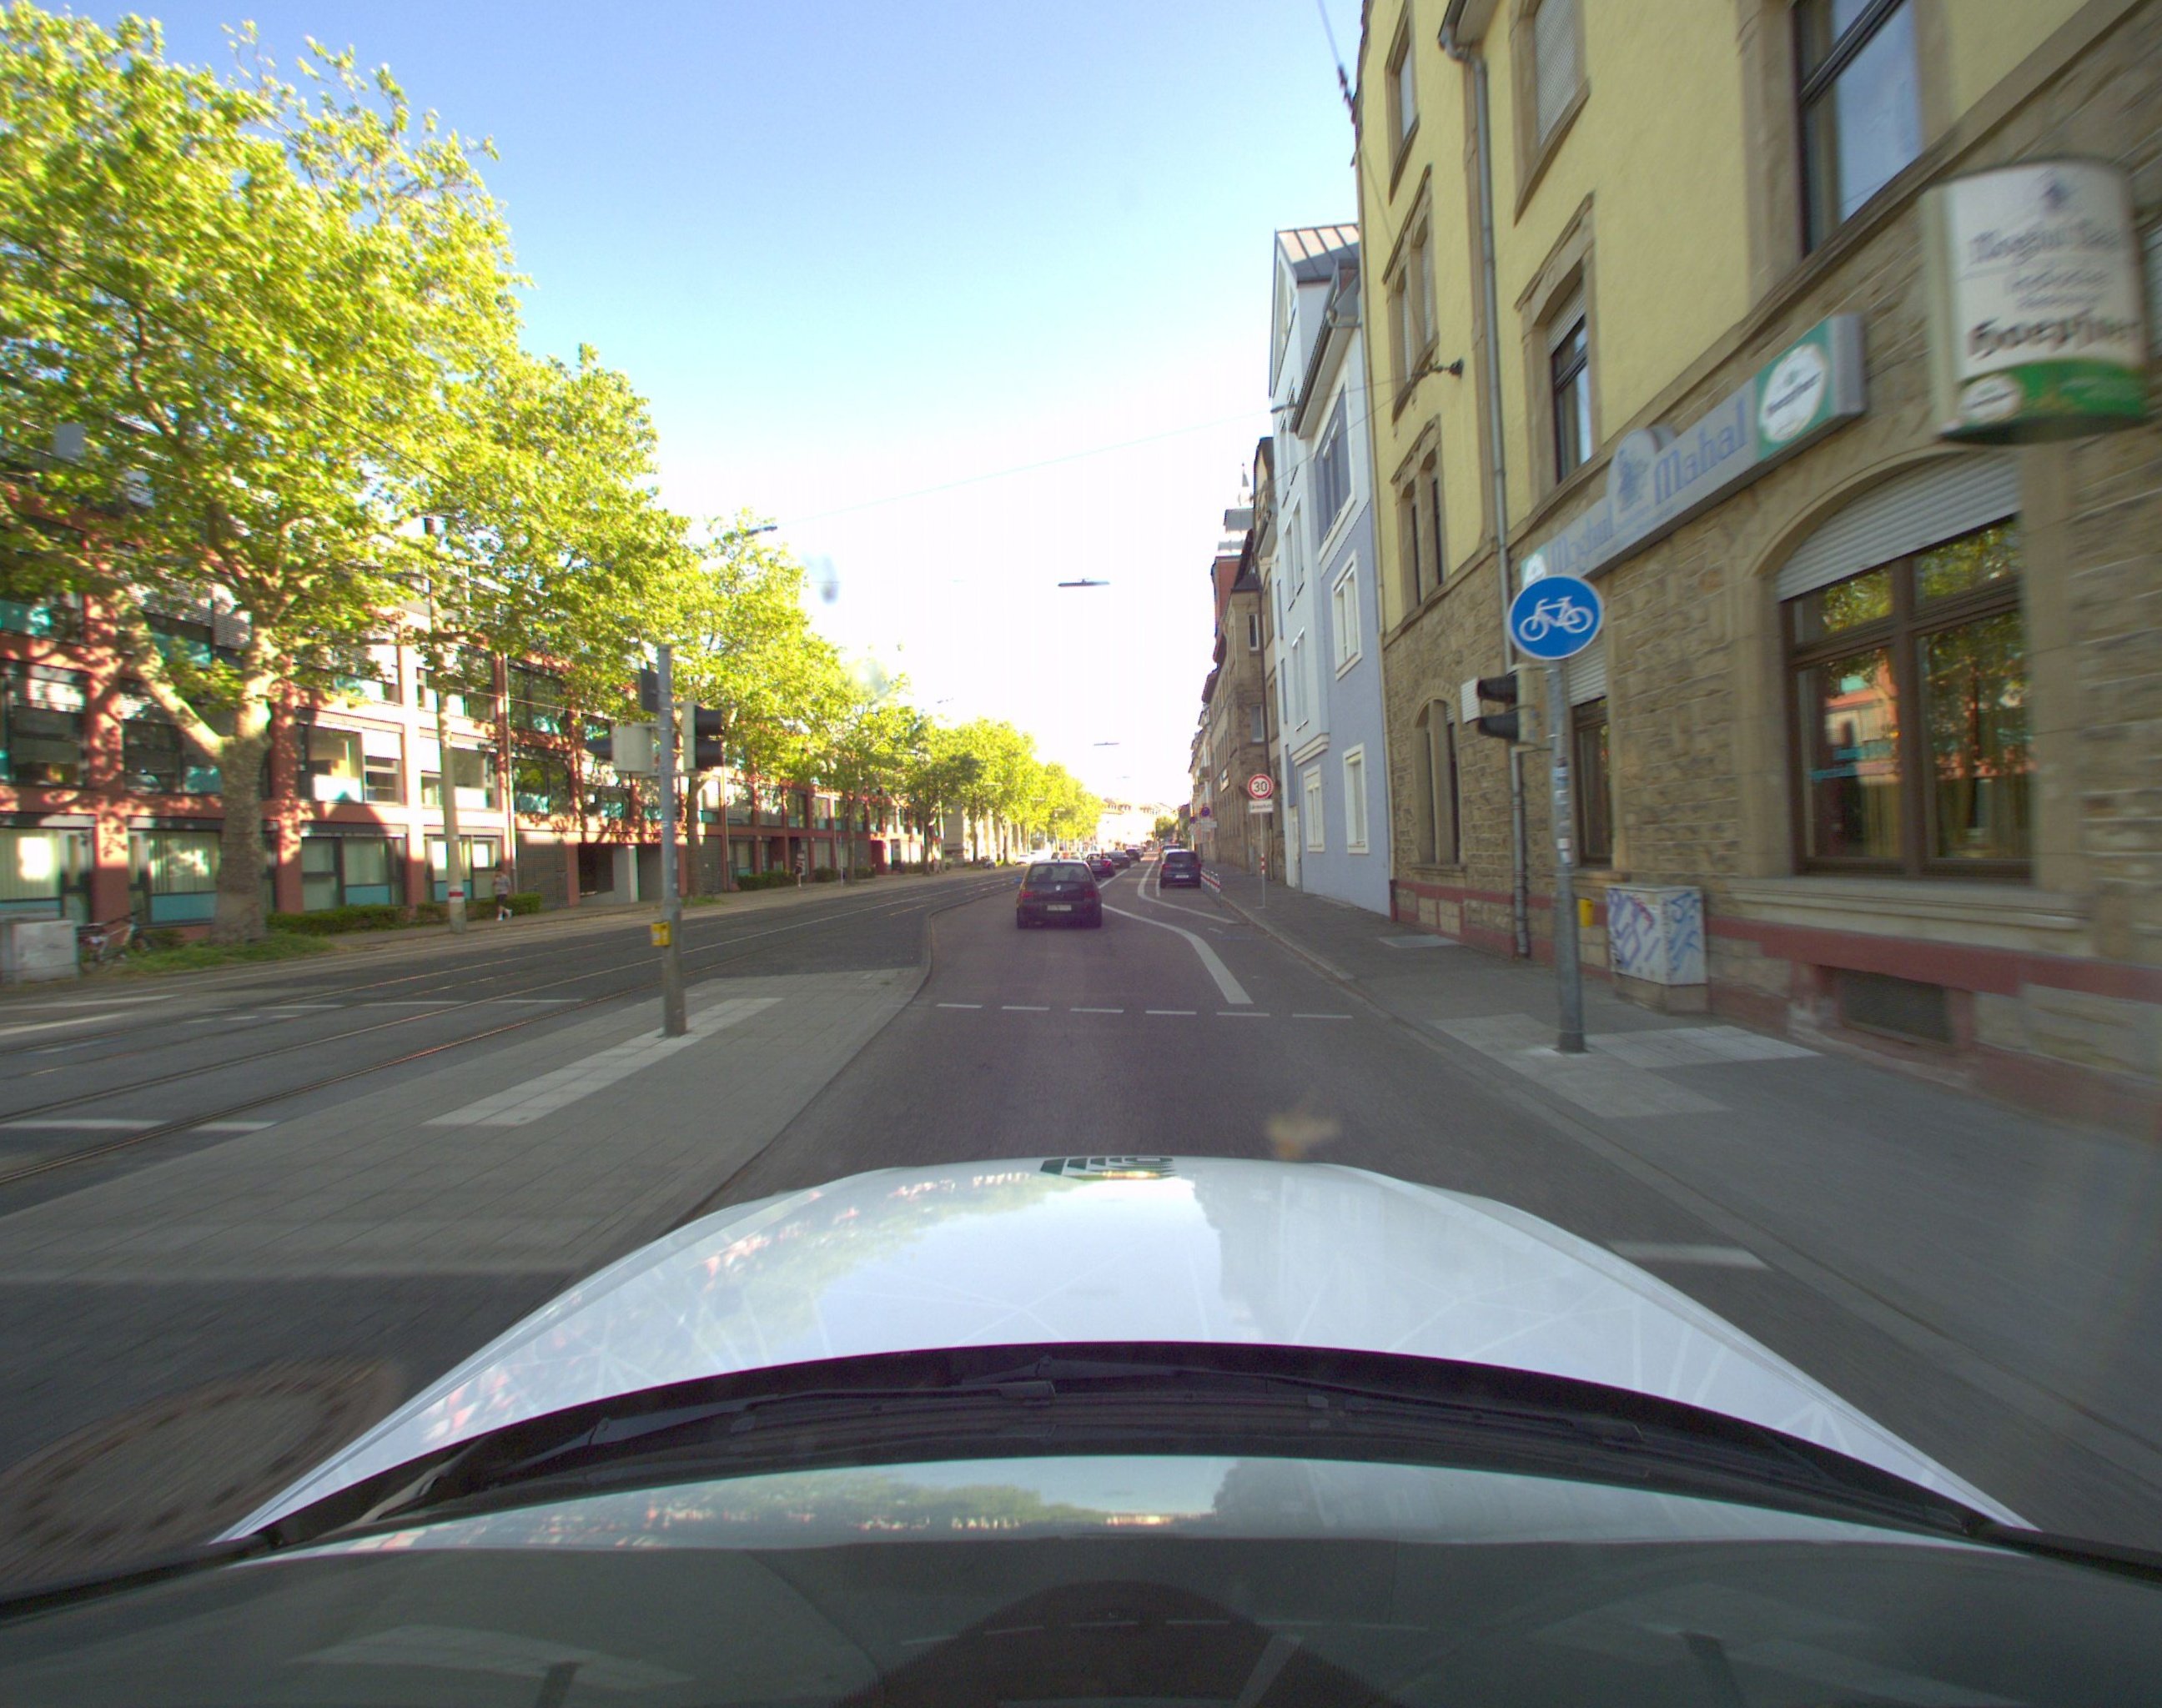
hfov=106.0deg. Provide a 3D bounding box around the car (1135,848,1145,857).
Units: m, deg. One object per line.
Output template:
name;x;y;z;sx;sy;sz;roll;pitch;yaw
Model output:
car;10.556;-0.211;144.667;1.628;1.472;3.735;-3;0;6

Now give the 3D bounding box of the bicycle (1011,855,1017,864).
bicycle;-8.797;0.733;106.680;0.579;1.209;1.653;-1;1;0

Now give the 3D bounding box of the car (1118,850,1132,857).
car;12.682;-0.055;235.519;3.975;2.013;1.999;-1;1;-1

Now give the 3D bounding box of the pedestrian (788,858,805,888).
pedestrian;-16.763;1.097;47.987;0.622;1.718;0.902;-1;1;4

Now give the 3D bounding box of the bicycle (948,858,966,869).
bicycle;-14.458;1.131;94.859;1.998;1.278;0.665;-1;1;5

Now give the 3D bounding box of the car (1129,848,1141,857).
car;8.607;-0.253;130.071;1.628;1.472;3.735;-3;0;6

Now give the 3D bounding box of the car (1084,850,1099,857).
car;3.093;-0.217;232.224;3.983;2.013;1.995;-1;1;-7

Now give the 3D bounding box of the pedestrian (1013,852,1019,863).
pedestrian;-10.600;0.552;132.840;0.793;1.820;0.671;-1;1;5

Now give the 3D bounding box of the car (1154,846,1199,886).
car;3.779;0.439;32.646;1.647;1.482;4.006;-2;0;5

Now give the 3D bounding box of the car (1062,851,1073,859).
car;-2.691;0.236;163.186;1.562;1.533;3.578;-3;-1;6

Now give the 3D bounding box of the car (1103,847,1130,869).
car;2.795;0.255;62.835;1.740;1.537;3.898;-3;1;6

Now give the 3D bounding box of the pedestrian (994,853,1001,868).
pedestrian;-10.624;0.818;103.863;0.784;1.870;0.669;-1;1;-9

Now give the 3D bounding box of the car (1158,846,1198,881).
car;4.540;0.401;38.151;1.743;1.500;4.204;-1;0;7

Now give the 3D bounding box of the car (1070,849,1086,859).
car;-0.502;-0.034;133.942;1.742;1.518;4.083;-5;0;10

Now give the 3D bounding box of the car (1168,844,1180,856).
car;14.447;-0.601;126.720;1.750;1.837;3.553;-1;1;5

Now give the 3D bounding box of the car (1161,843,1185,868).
car;7.123;0.072;63.456;1.744;1.855;4.823;-2;0;6

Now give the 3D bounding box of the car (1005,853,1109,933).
car;-0.396;0.741;17.479;1.741;1.375;4.005;-3;1;4

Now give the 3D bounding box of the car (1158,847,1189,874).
car;5.459;0.354;48.316;1.705;1.500;4.233;-1;0;6

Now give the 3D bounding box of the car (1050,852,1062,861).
car;-4.481;0.535;146.598;1.562;1.533;3.578;-3;-1;6

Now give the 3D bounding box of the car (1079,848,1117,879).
car;0.981;0.487;45.846;1.740;1.537;3.898;-3;1;6

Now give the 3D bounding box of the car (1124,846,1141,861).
car;5.629;-0.089;87.949;1.628;1.472;3.735;-3;0;6

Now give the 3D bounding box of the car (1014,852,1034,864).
car;-7.830;0.509;112.207;2.002;1.572;4.699;-1;1;4

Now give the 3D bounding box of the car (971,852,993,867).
car;-10.661;0.608;87.725;1.499;1.454;3.469;-3;-2;6

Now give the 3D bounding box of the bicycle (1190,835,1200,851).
bicycle;8.526;-0.798;60.957;0.512;1.139;2.262;-4;0;5

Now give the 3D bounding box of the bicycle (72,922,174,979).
bicycle;-18.479;1.838;15.753;0.522;0.906;1.535;-3;0;-18

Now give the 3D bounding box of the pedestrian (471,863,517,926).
pedestrian;-19.467;1.317;27.015;0.908;2.013;0.780;-1;1;-3

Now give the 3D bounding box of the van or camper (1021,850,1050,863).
van or camper;-6.751;0.363;122.470;2.041;1.949;5.220;-1;1;25
